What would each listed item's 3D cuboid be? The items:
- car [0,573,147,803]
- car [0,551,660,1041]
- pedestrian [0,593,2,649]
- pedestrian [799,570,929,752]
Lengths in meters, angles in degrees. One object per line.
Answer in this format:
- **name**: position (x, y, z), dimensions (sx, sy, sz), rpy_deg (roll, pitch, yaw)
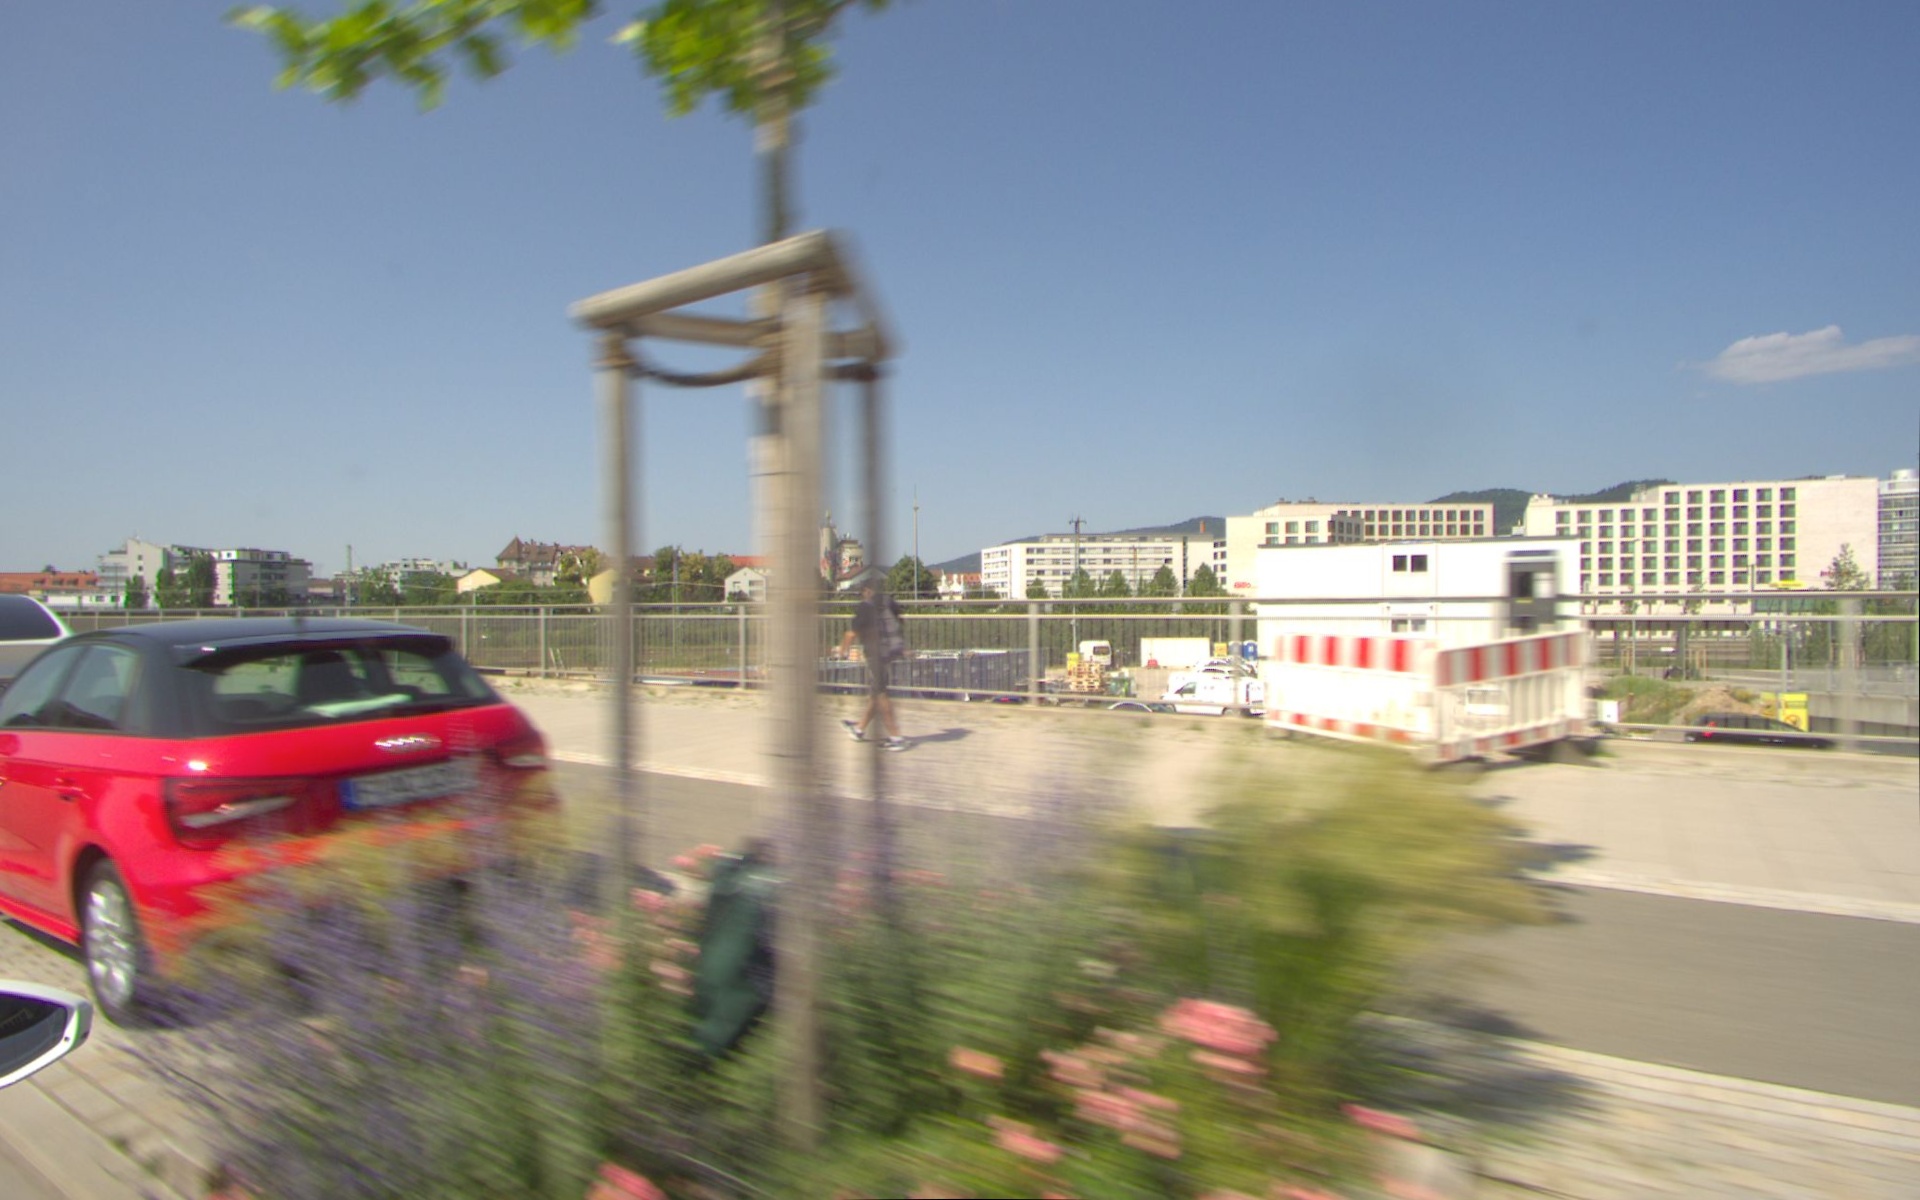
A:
- **car**: position (-8.942, 0.655, 8.438), dimensions (4.808, 1.649, 1.868), rpy_deg (-1, 0, 33)
- **car**: position (-3.629, 0.650, 5.090), dimensions (3.944, 1.538, 1.989), rpy_deg (0, -1, 34)
- **pedestrian**: position (-30.393, 0.656, 31.151), dimensions (0.642, 1.727, 0.730), rpy_deg (-2, -2, 34)
- **pedestrian**: position (-0.913, 0.541, 9.572), dimensions (0.936, 1.631, 0.748), rpy_deg (0, 3, 34)
